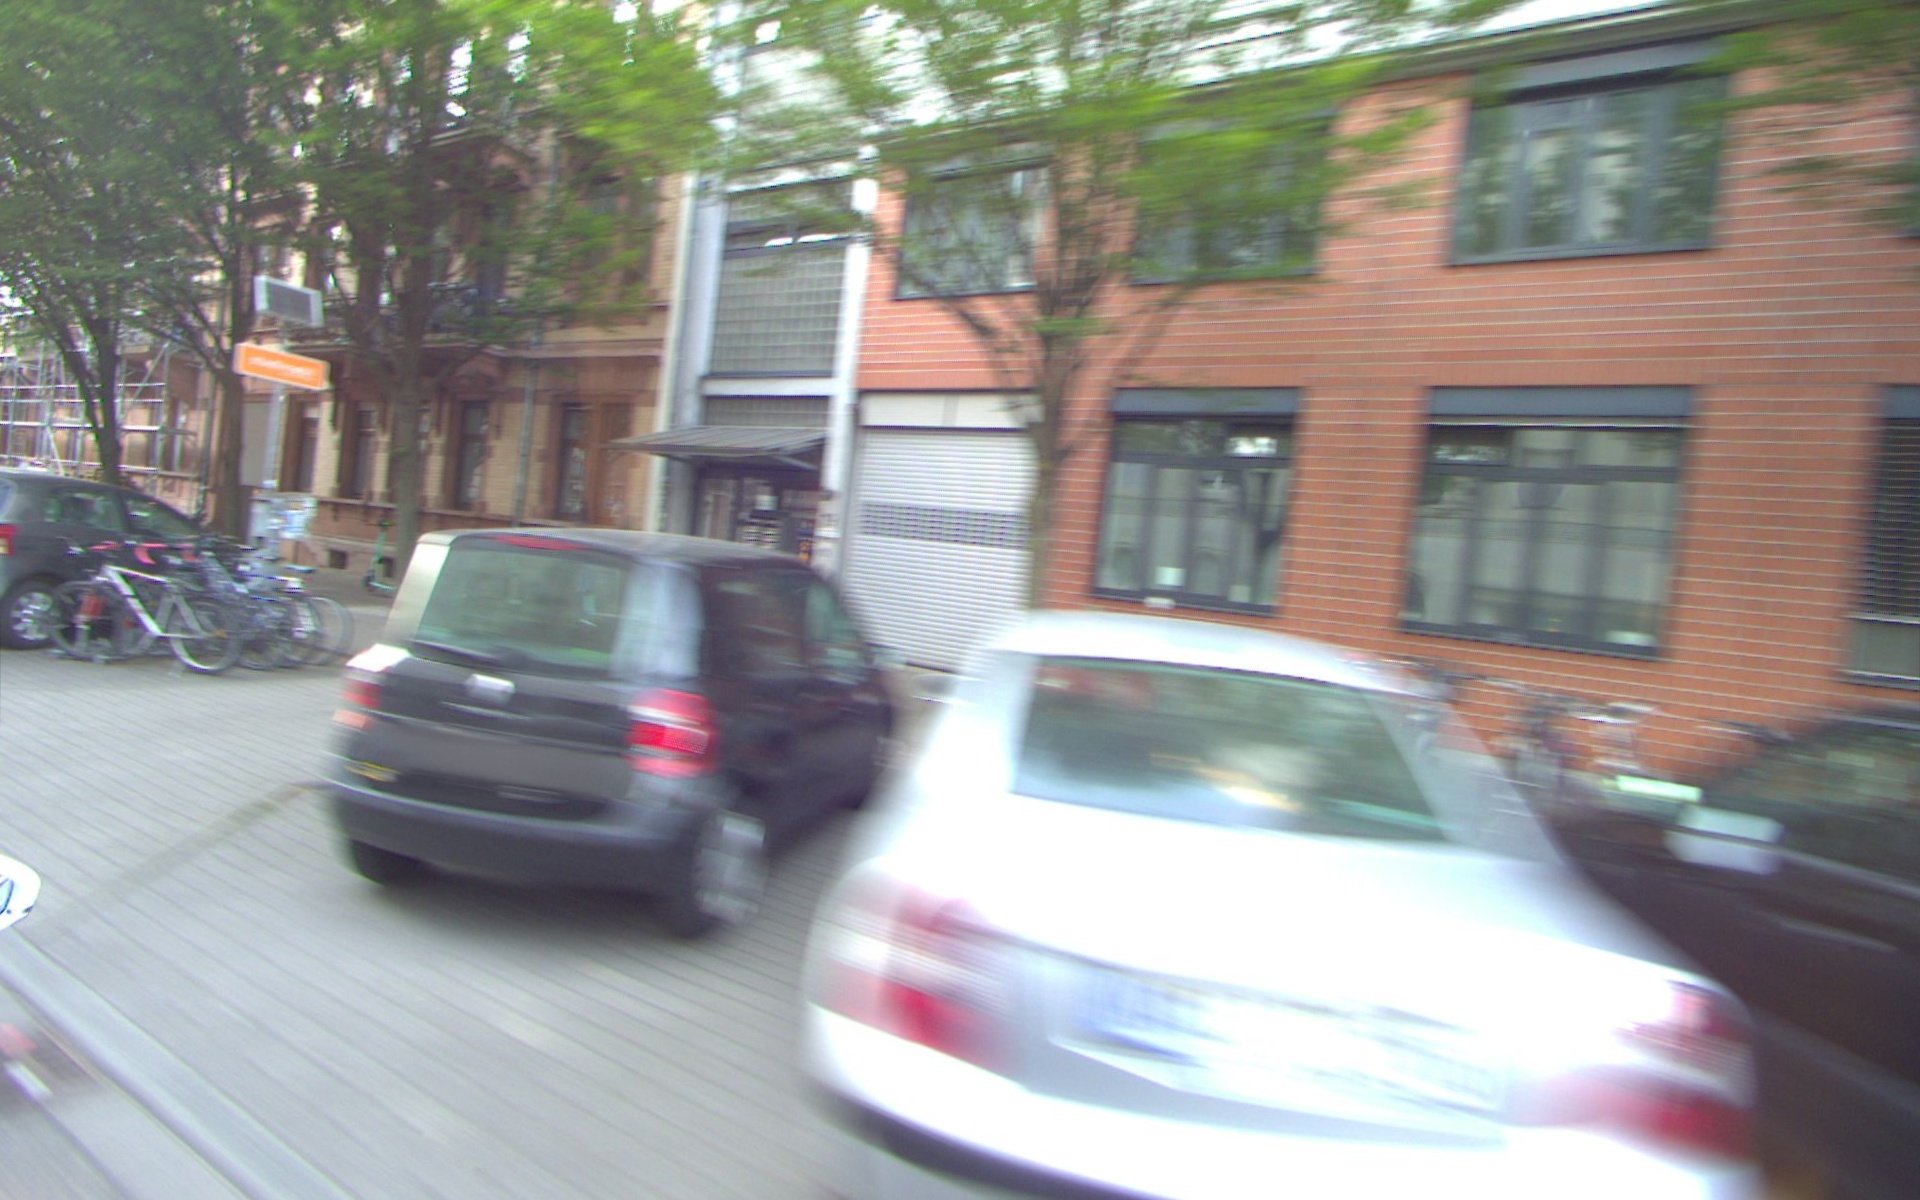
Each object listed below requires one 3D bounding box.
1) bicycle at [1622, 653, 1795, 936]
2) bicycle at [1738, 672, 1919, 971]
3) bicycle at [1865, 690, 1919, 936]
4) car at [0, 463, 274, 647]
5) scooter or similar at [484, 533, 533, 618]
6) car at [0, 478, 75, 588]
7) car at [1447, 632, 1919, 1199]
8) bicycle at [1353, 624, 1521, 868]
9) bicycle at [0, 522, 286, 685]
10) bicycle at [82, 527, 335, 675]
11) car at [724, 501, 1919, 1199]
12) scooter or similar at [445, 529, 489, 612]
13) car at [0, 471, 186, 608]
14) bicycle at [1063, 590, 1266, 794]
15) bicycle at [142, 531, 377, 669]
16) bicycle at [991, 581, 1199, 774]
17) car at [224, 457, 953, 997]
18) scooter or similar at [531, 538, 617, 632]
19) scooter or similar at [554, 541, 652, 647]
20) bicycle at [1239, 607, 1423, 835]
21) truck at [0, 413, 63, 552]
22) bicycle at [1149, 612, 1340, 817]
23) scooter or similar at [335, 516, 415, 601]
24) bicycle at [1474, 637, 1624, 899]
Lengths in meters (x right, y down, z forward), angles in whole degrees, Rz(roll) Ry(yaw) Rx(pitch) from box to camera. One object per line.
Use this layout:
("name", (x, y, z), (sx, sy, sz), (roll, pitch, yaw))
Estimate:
("bicycle", (4.670, 1.103, 6.418), (0.589, 1.397, 2.536), (8, 1, 34))
("bicycle", (5.279, 1.180, 6.061), (0.589, 1.397, 2.536), (8, 1, 34))
("bicycle", (5.886, 1.255, 5.715), (0.589, 1.397, 2.536), (8, 1, 34))
("car", (-8.776, -0.495, 9.770), (1.742, 1.493, 3.404), (7, 2, 1))
("scooter or similar", (-7.142, -0.413, 15.873), (0.366, 1.234, 1.687), (3, 3, -34))
("car", (-13.749, -0.976, 12.724), (1.731, 1.455, 3.833), (7, 1, -3))
("car", (2.854, 0.996, 2.514), (1.533, 1.554, 3.605), (7, 0, 4))
("bicycle", (3.487, 0.962, 7.195), (0.589, 1.397, 2.536), (8, 1, 34))
("bicycle", (-6.821, 0.036, 8.418), (1.823, 1.121, 0.694), (6, 0, 2))
("bicycle", (-6.797, 0.012, 9.139), (1.823, 1.121, 0.559), (6, 0, 2))
("car", (0.642, 0.737, 3.702), (1.773, 1.554, 4.386), (7, 0, 2))
("scooter or similar", (-7.976, -0.493, 16.244), (0.366, 1.234, 1.605), (3, 3, -34))
("car", (-11.648, -0.776, 11.872), (1.729, 1.550, 3.836), (6, 1, 6))
("bicycle", (1.780, 0.740, 8.330), (0.589, 1.397, 2.536), (8, 1, 34))
("bicycle", (-6.759, 0.003, 9.744), (1.823, 1.121, 0.559), (6, 0, 2))
("bicycle", (1.261, 0.660, 8.712), (0.589, 1.397, 2.536), (8, 1, 34))
("car", (-1.390, 0.426, 5.480), (1.725, 1.657, 4.000), (7, 1, 12))
("scooter or similar", (-5.678, -0.243, 14.748), (1.751, 1.235, 0.410), (7, 5, 43))
("scooter or similar", (-4.686, -0.115, 13.167), (1.751, 1.236, 0.465), (7, 8, 43))
("bicycle", (2.878, 0.855, 7.592), (0.589, 1.397, 2.536), (8, 1, 34))
("truck", (-23.943, -2.971, 21.697), (2.228, 3.011, 6.328), (4, -2, 32))
("bicycle", (2.333, 0.790, 7.977), (0.589, 1.263, 2.530), (7, 6, 34))
("scooter or similar", (-9.699, -0.690, 16.676), (1.328, 1.260, 0.511), (7, 5, 30))
("bicycle", (4.053, 1.030, 6.818), (0.589, 1.397, 2.536), (8, 1, 34))
